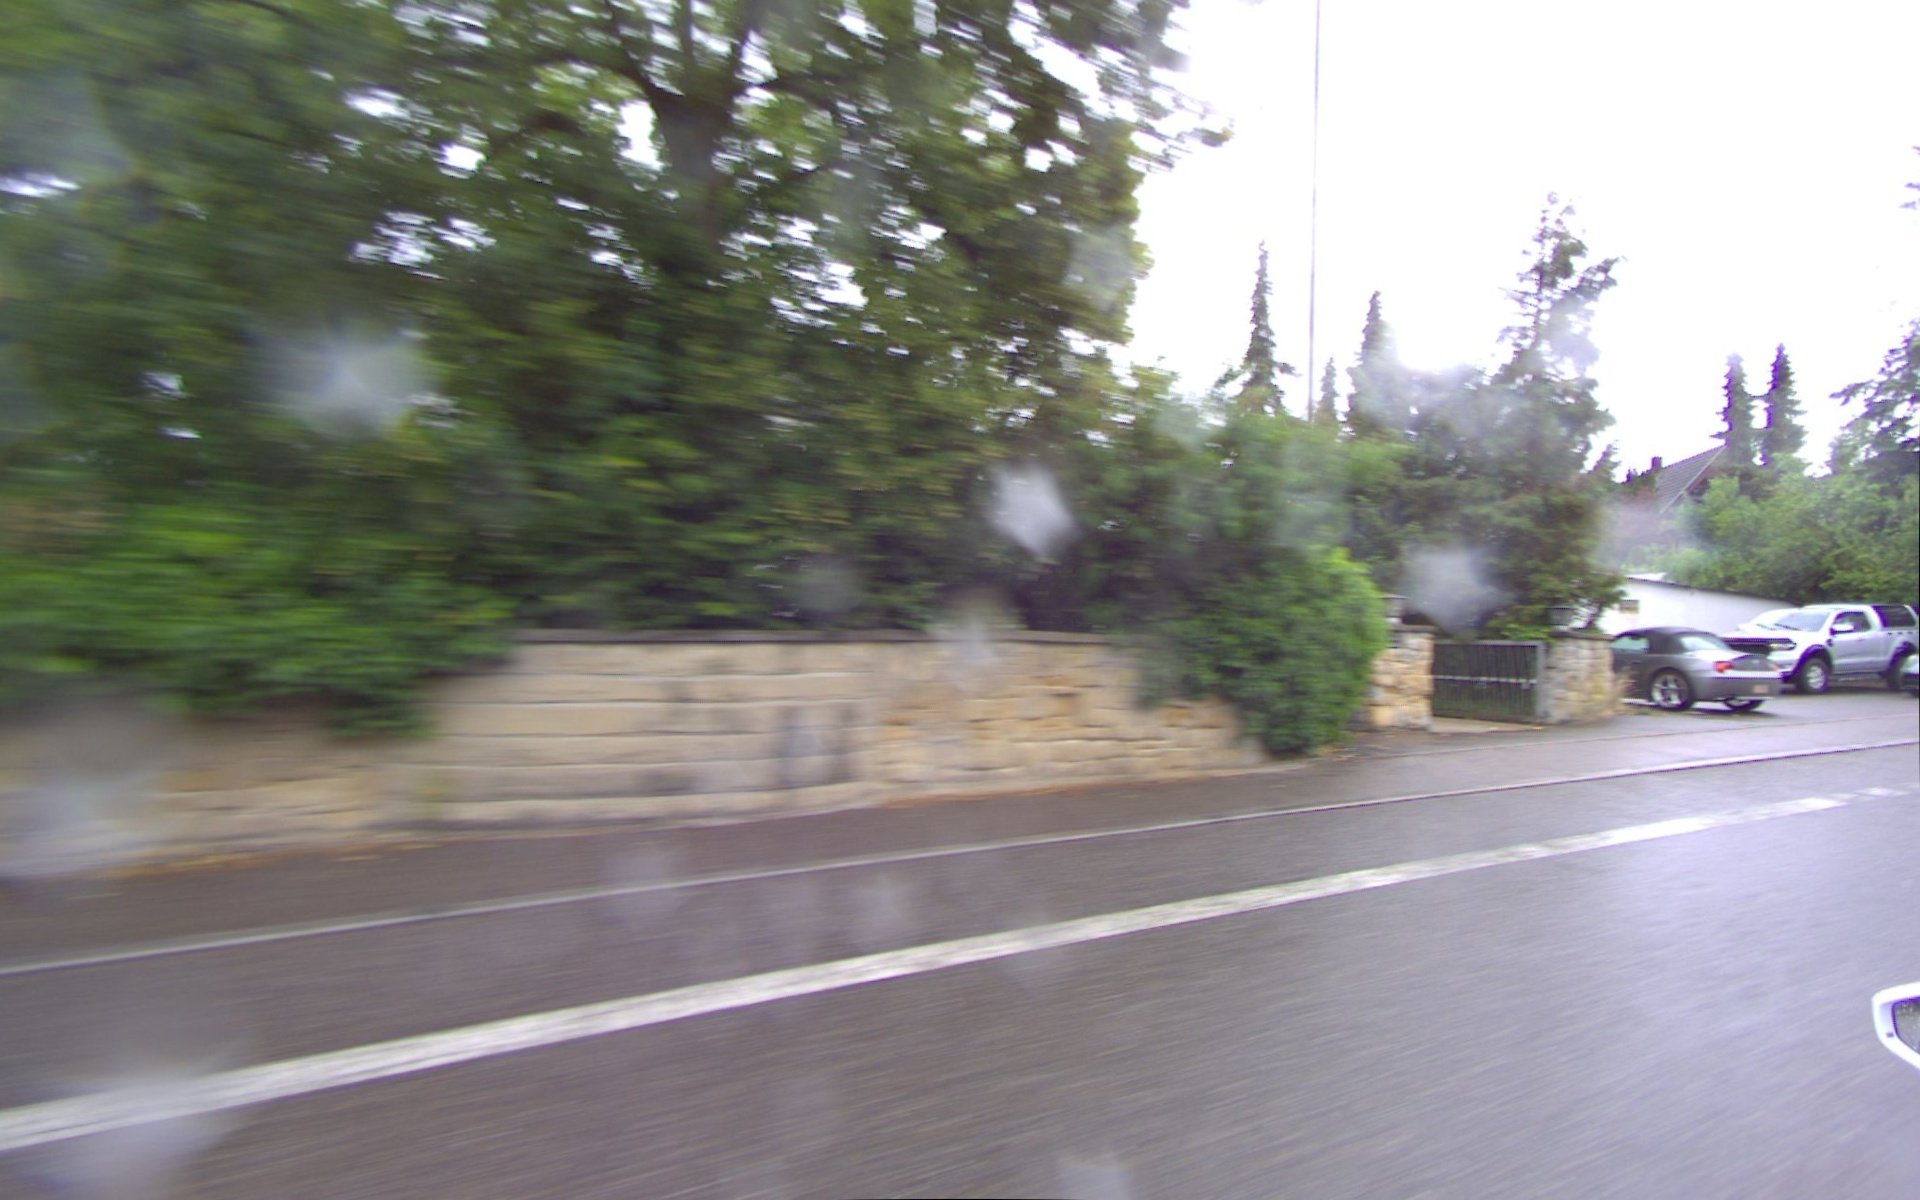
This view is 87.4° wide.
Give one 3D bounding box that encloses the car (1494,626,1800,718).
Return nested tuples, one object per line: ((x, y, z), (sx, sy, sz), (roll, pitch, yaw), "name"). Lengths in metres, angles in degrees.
((11.335, 1.118, 16.921), (1.844, 1.288, 3.984), (1, -1, -18), "car")

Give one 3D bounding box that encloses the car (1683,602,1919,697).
((18.487, 1.025, 21.828), (5.399, 1.868, 1.989), (1, -1, -23), "car")

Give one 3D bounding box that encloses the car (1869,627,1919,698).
((20.040, 1.184, 19.437), (4.370, 1.325, 1.989), (1, -2, -23), "car")
